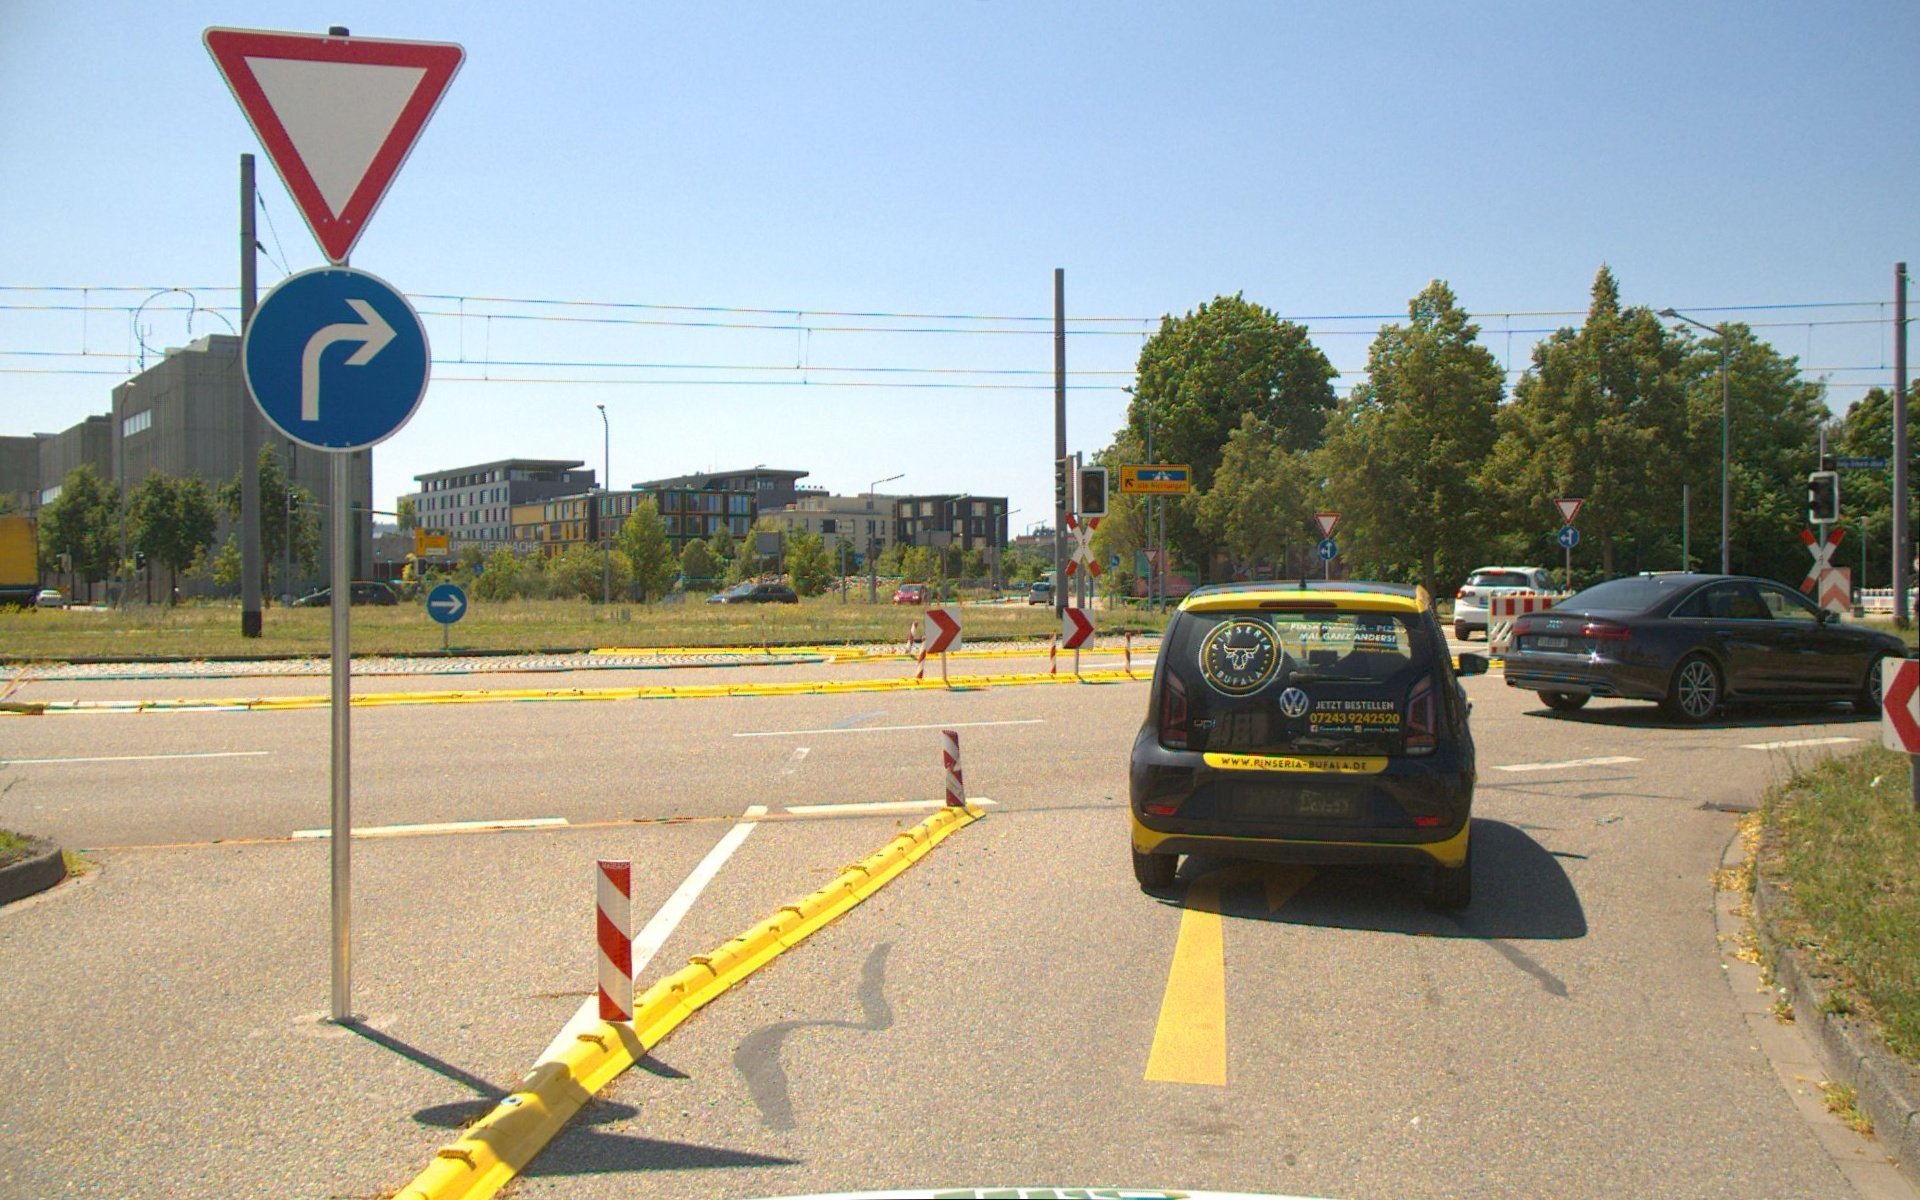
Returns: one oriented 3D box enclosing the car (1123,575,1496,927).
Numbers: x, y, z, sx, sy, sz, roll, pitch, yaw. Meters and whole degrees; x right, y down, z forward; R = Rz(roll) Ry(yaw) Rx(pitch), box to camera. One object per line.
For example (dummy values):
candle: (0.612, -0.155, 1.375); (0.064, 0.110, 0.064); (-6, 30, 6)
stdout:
car: (2.063, 0.618, 9.127); (1.584, 1.477, 3.989); (1, 1, 16)

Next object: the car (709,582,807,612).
car: (-9.594, -0.144, 78.768); (1.964, 1.342, 4.457); (0, 1, 41)

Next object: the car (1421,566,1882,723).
car: (7.299, 0.384, 17.436); (4.577, 1.474, 1.984); (-1, 1, -26)

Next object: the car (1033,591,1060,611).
car: (6.198, 0.044, 117.774); (1.623, 1.396, 3.034); (0, 1, 9)

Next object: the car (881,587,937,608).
car: (-2.834, -0.160, 92.815); (1.465, 1.108, 3.513); (0, 1, 31)

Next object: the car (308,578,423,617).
car: (-23.656, -0.129, 65.877); (4.005, 1.486, 1.707); (-1, 1, -37)

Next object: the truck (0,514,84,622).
truck: (-35.526, -1.067, 56.491); (2.661, 3.722, 9.551); (0, 1, 44)

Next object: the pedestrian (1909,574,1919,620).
pedestrian: (30.347, -0.098, 52.256); (0.509, 1.454, 0.352); (0, 0, 8)

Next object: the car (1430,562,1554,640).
car: (11.186, -0.011, 34.614); (1.954, 1.512, 4.364); (0, 1, 25)

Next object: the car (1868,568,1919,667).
car: (16.514, 0.281, 25.041); (4.656, 1.474, 1.995); (0, 1, -10)
